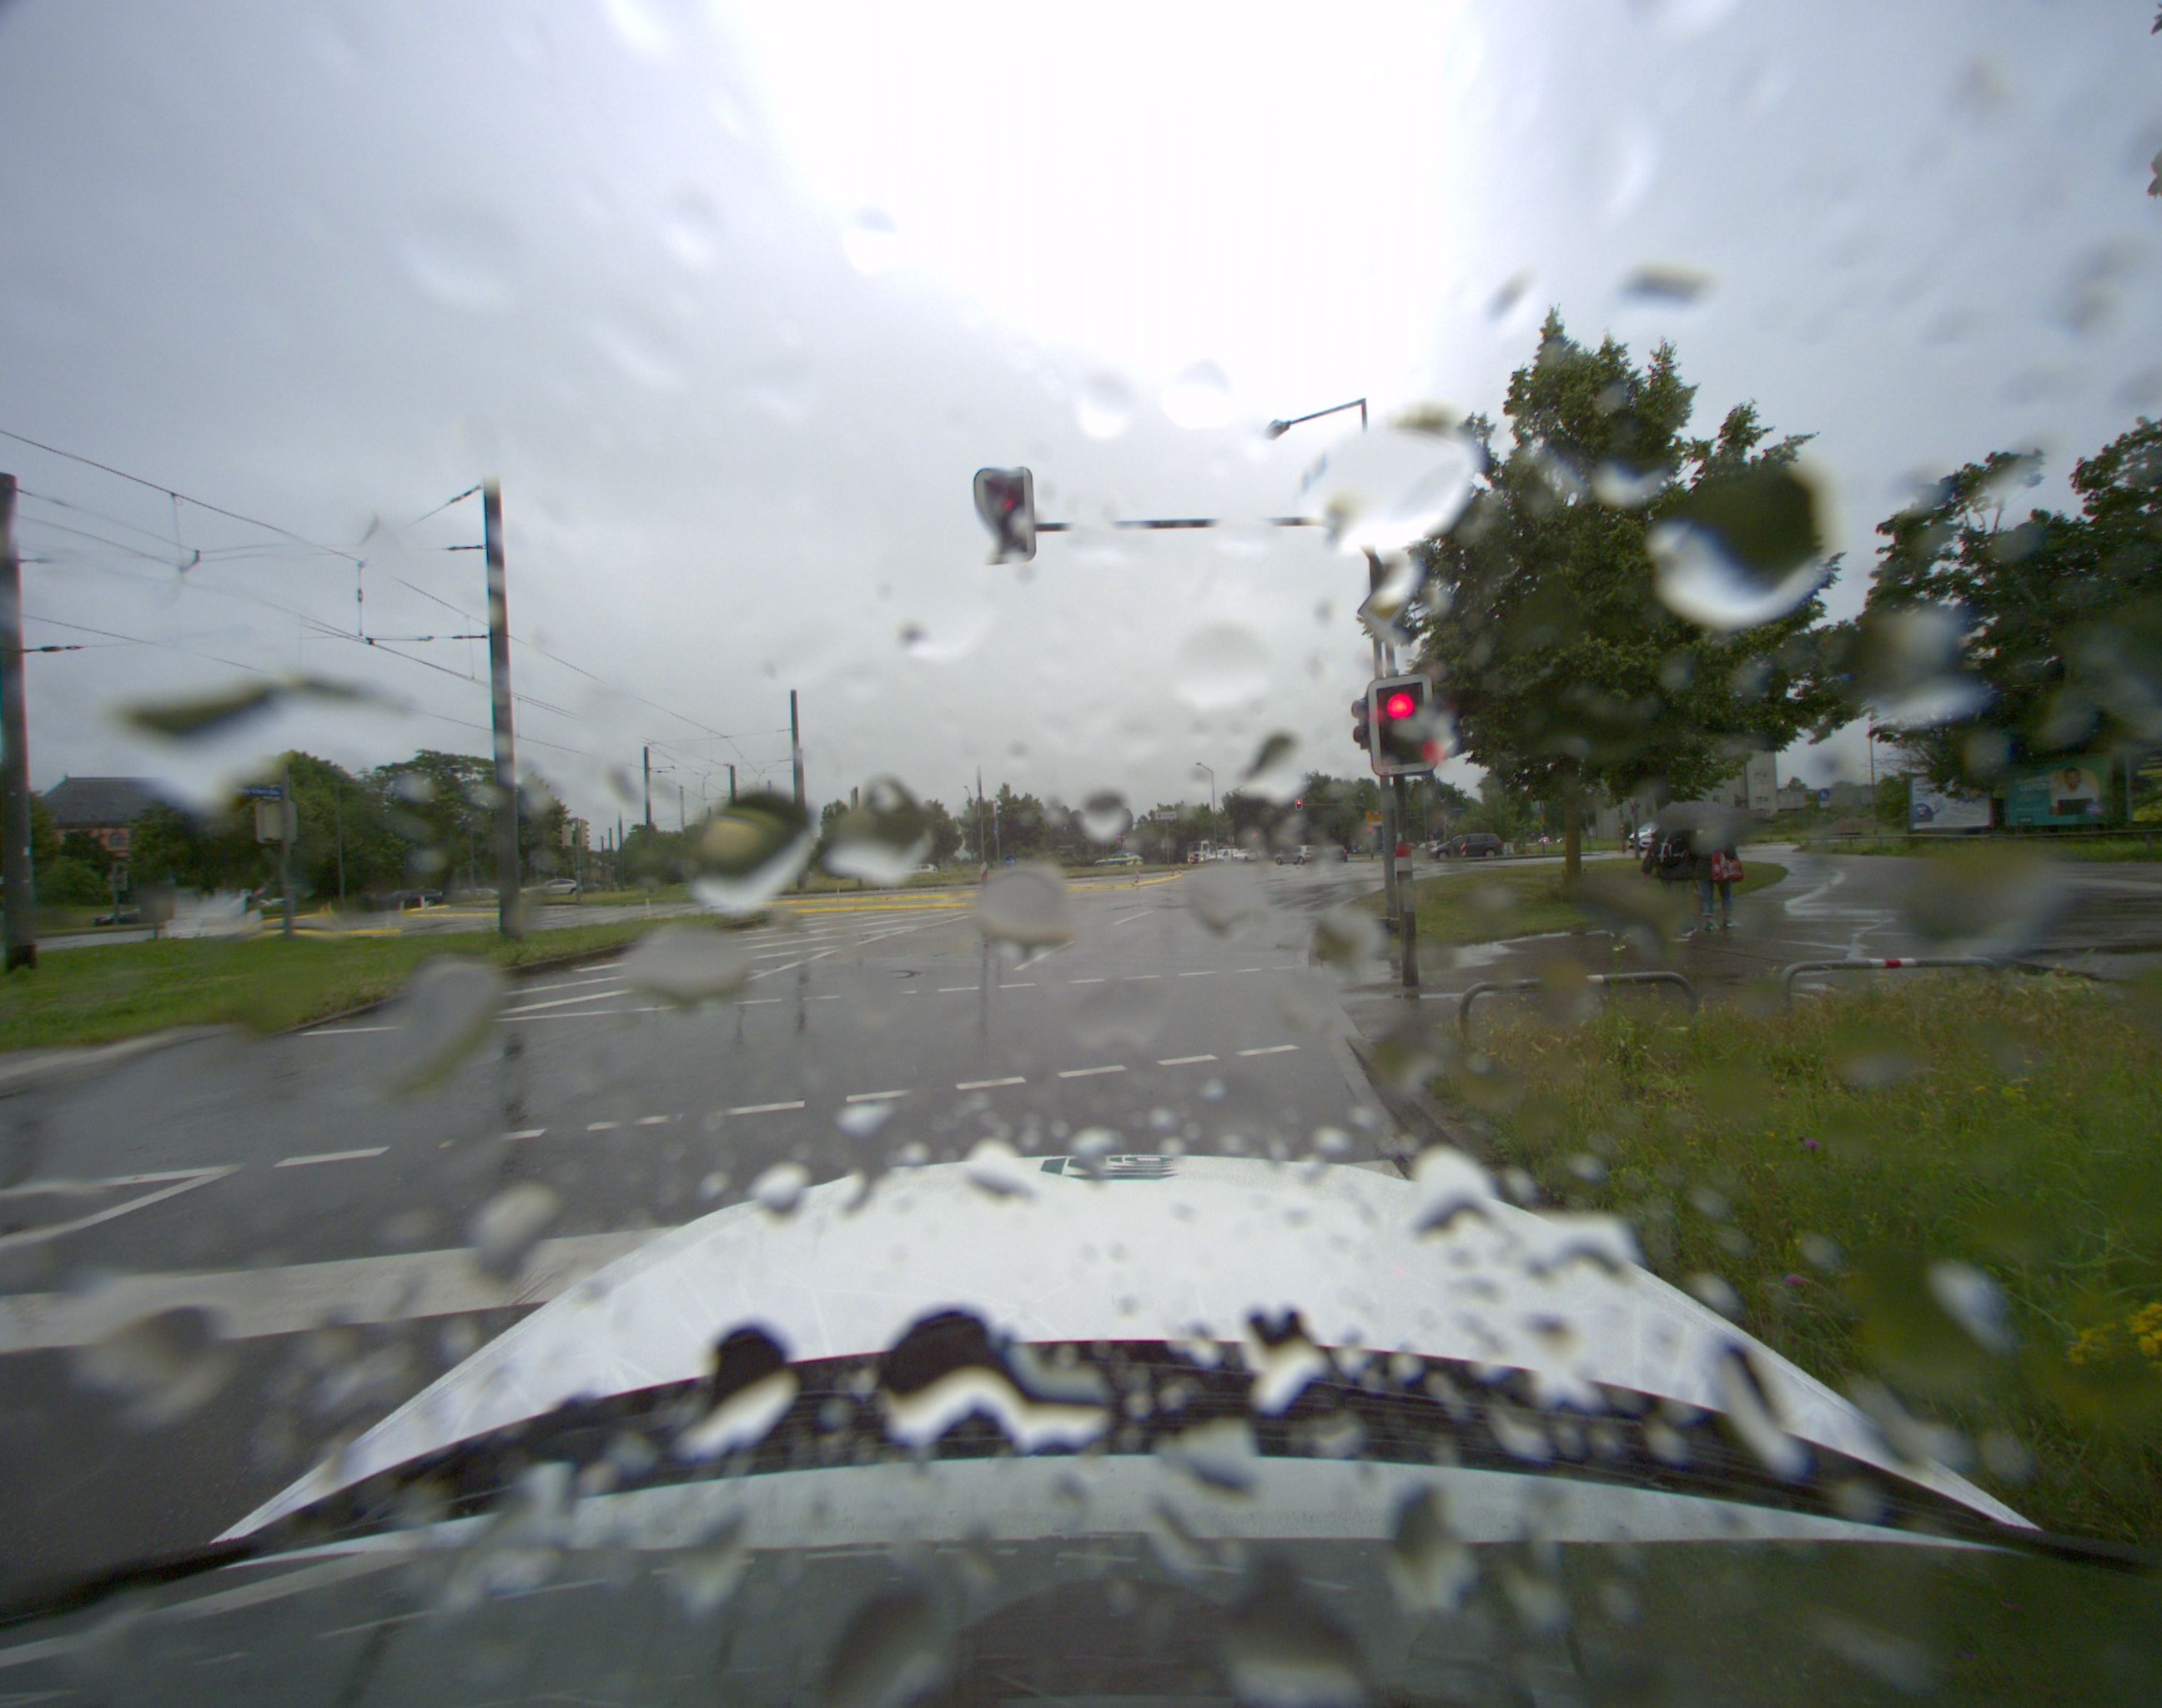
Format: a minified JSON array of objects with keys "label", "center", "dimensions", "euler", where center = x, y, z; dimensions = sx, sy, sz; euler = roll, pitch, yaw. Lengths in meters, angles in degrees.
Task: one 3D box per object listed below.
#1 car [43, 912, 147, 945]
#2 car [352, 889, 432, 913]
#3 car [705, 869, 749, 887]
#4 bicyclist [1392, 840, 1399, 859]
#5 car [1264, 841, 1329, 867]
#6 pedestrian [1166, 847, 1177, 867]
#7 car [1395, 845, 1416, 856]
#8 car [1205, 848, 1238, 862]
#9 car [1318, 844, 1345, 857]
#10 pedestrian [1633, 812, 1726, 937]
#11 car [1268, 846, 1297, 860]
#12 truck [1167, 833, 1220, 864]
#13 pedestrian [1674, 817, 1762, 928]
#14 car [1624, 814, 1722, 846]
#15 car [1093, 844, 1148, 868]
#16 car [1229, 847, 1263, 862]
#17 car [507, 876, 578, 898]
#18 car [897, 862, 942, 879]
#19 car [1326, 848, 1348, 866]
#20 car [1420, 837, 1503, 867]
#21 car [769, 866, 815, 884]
[{"label":"car","center":[-54.365,4.083,44.954],"dimensions":[1.601,1.543,3.505],"euler":[-1,-1,33]},{"label":"car","center":[-48.962,3.313,57.926],"dimensions":[1.604,1.454,4.009],"euler":[-2,0,22]},{"label":"car","center":[-37.326,2.485,85.965],"dimensions":[1.660,1.816,4.025],"euler":[-1,-1,31]},{"label":"bicyclist","center":[27.898,-0.396,72.179],"dimensions":[0.491,1.742,0.593],"euler":[-1,-1,16]},{"label":"car","center":[16.300,0.048,61.872],"dimensions":[2.006,1.851,4.728],"euler":[0,-1,-31]},{"label":"pedestrian","center":[6.053,0.216,54.366],"dimensions":[0.448,1.304,0.489],"euler":[-3,-1,40]},{"label":"car","center":[52.604,-0.571,132.043],"dimensions":[1.779,1.662,4.024],"euler":[-1,-1,43]},{"label":"car","center":[16.590,0.145,95.998],"dimensions":[1.779,1.662,4.159],"euler":[-1,-1,43]},{"label":"car","center":[34.557,-0.538,112.160],"dimensions":[1.779,1.662,4.437],"euler":[-3,0,43]},{"label":"pedestrian","center":[7.564,0.249,10.321],"dimensions":[0.619,1.522,0.741],"euler":[-1,0,0]},{"label":"car","center":[26.706,-0.165,107.997],"dimensions":[1.779,1.662,4.437],"euler":[-3,0,43]},{"label":"truck","center":[10.349,-0.421,74.127],"dimensions":[2.439,2.686,8.105],"euler":[-1,-1,25]},{"label":"pedestrian","center":[8.877,0.256,11.363],"dimensions":[0.678,1.461,0.573],"euler":[-3,-1,-3]},{"label":"car","center":[37.427,-1.505,51.585],"dimensions":[4.740,1.851,2.001],"euler":[0,-1,3]},{"label":"car","center":[3.407,0.168,70.792],"dimensions":[2.011,1.851,4.717],"euler":[-2,0,-43]},{"label":"car","center":[19.099,0.104,94.338],"dimensions":[1.779,1.662,4.436],"euler":[-1,-1,43]},{"label":"car","center":[-40.443,2.464,61.214],"dimensions":[1.603,1.454,4.138],"euler":[-3,0,29]},{"label":"car","center":[-15.714,1.560,79.249],"dimensions":[3.955,1.454,1.626],"euler":[-2,0,5]},{"label":"car","center":[22.193,0.266,70.717],"dimensions":[1.606,1.454,4.003],"euler":[-2,0,14]},{"label":"car","center":[24.494,-0.100,52.667],"dimensions":[4.720,1.851,2.010],"euler":[-1,-1,20]},{"label":"car","center":[-28.027,2.028,79.150],"dimensions":[3.976,1.454,1.617],"euler":[-2,0,-11]}]
